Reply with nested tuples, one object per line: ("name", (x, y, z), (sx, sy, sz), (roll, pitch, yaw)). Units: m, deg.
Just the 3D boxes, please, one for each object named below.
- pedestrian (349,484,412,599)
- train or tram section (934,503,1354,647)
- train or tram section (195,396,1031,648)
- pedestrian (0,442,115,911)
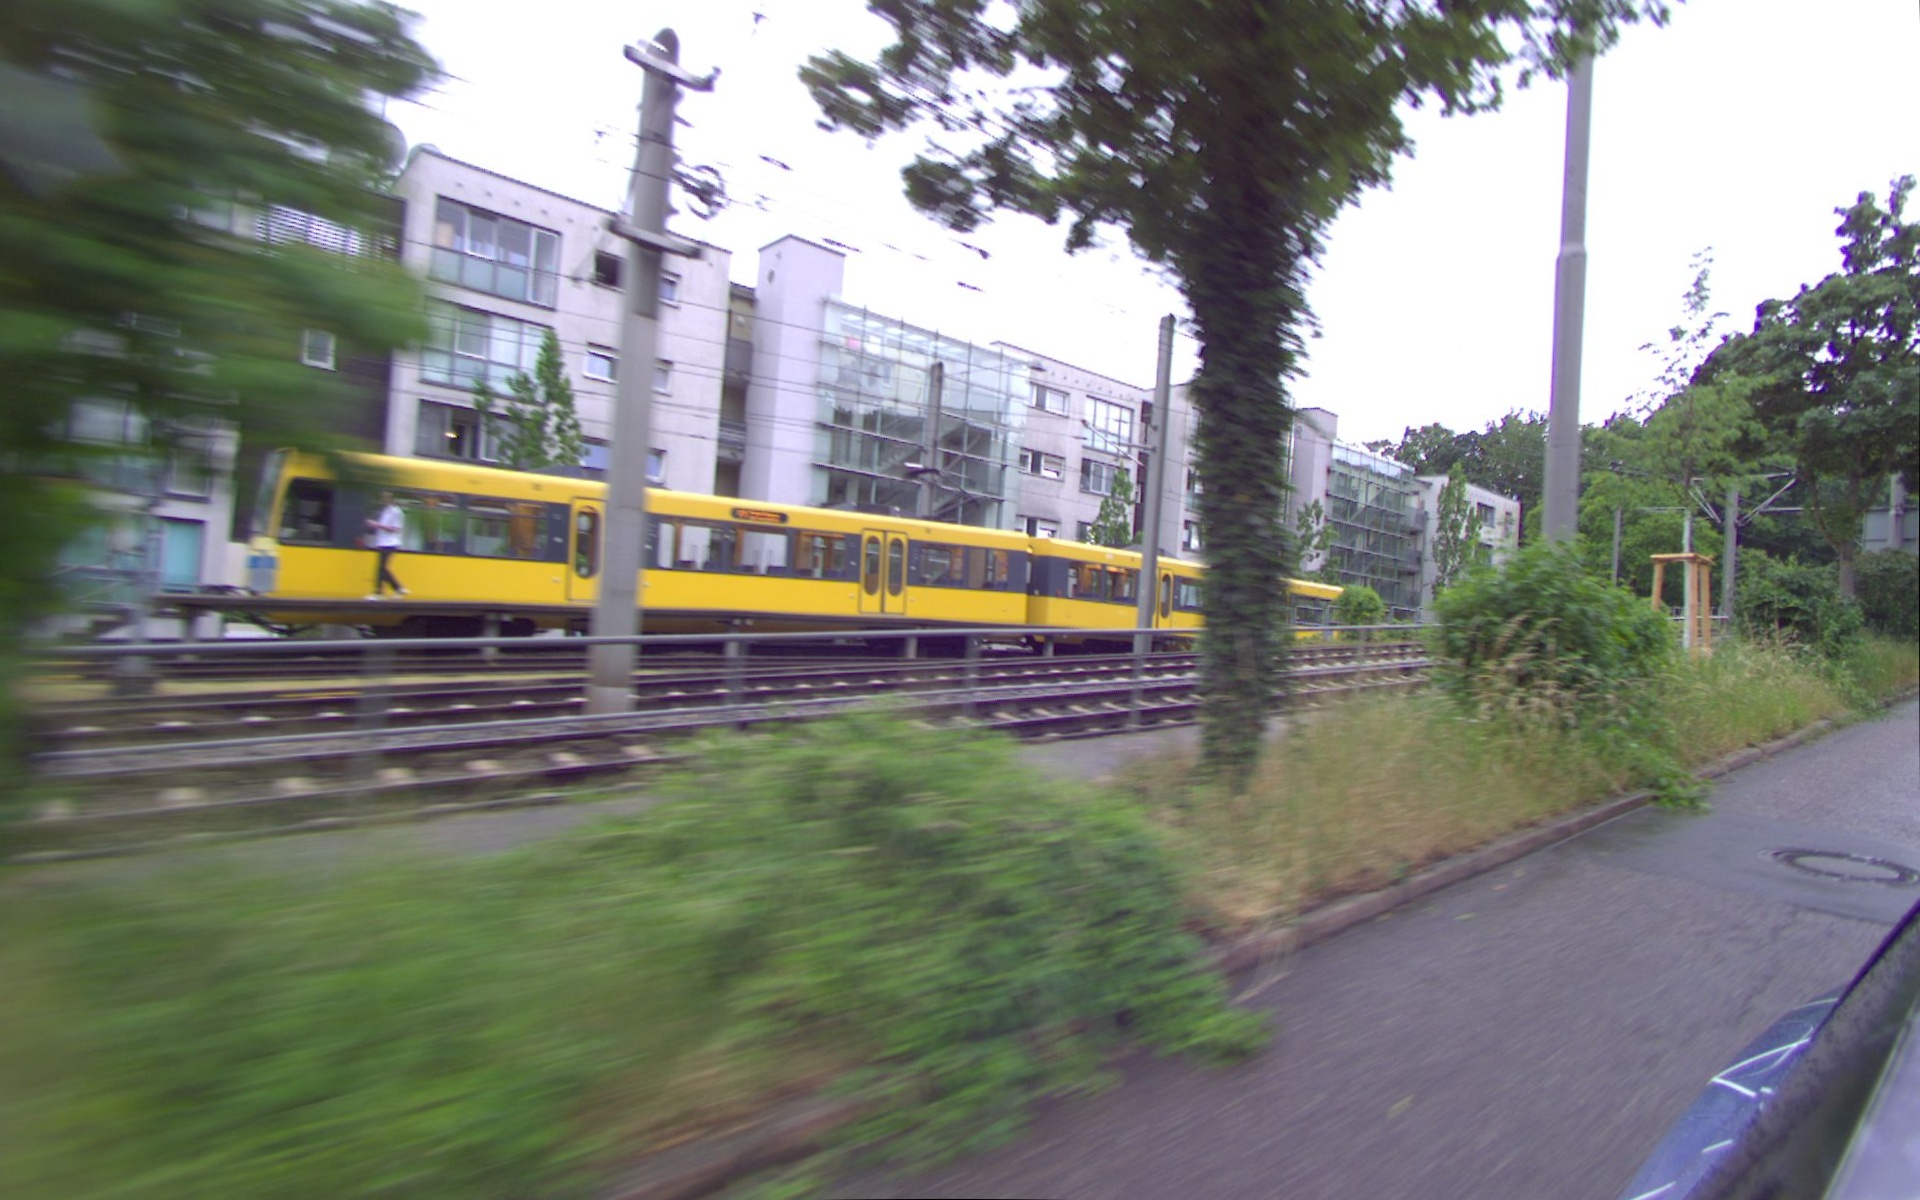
("pedestrian", (-9.926, -0.984, 17.338), (0.803, 1.903, 0.723), (-1, 2, -40))
("train or tram section", (7.469, -0.645, 35.450), (18.941, 3.997, 3.337), (1, 1, -41))
("train or tram section", (-6.113, -1.006, 23.650), (18.479, 3.997, 3.337), (3, -1, -41))
("pedestrian", (-3.635, 0.272, 3.932), (0.515, 1.708, 0.564), (1, 1, -41))
